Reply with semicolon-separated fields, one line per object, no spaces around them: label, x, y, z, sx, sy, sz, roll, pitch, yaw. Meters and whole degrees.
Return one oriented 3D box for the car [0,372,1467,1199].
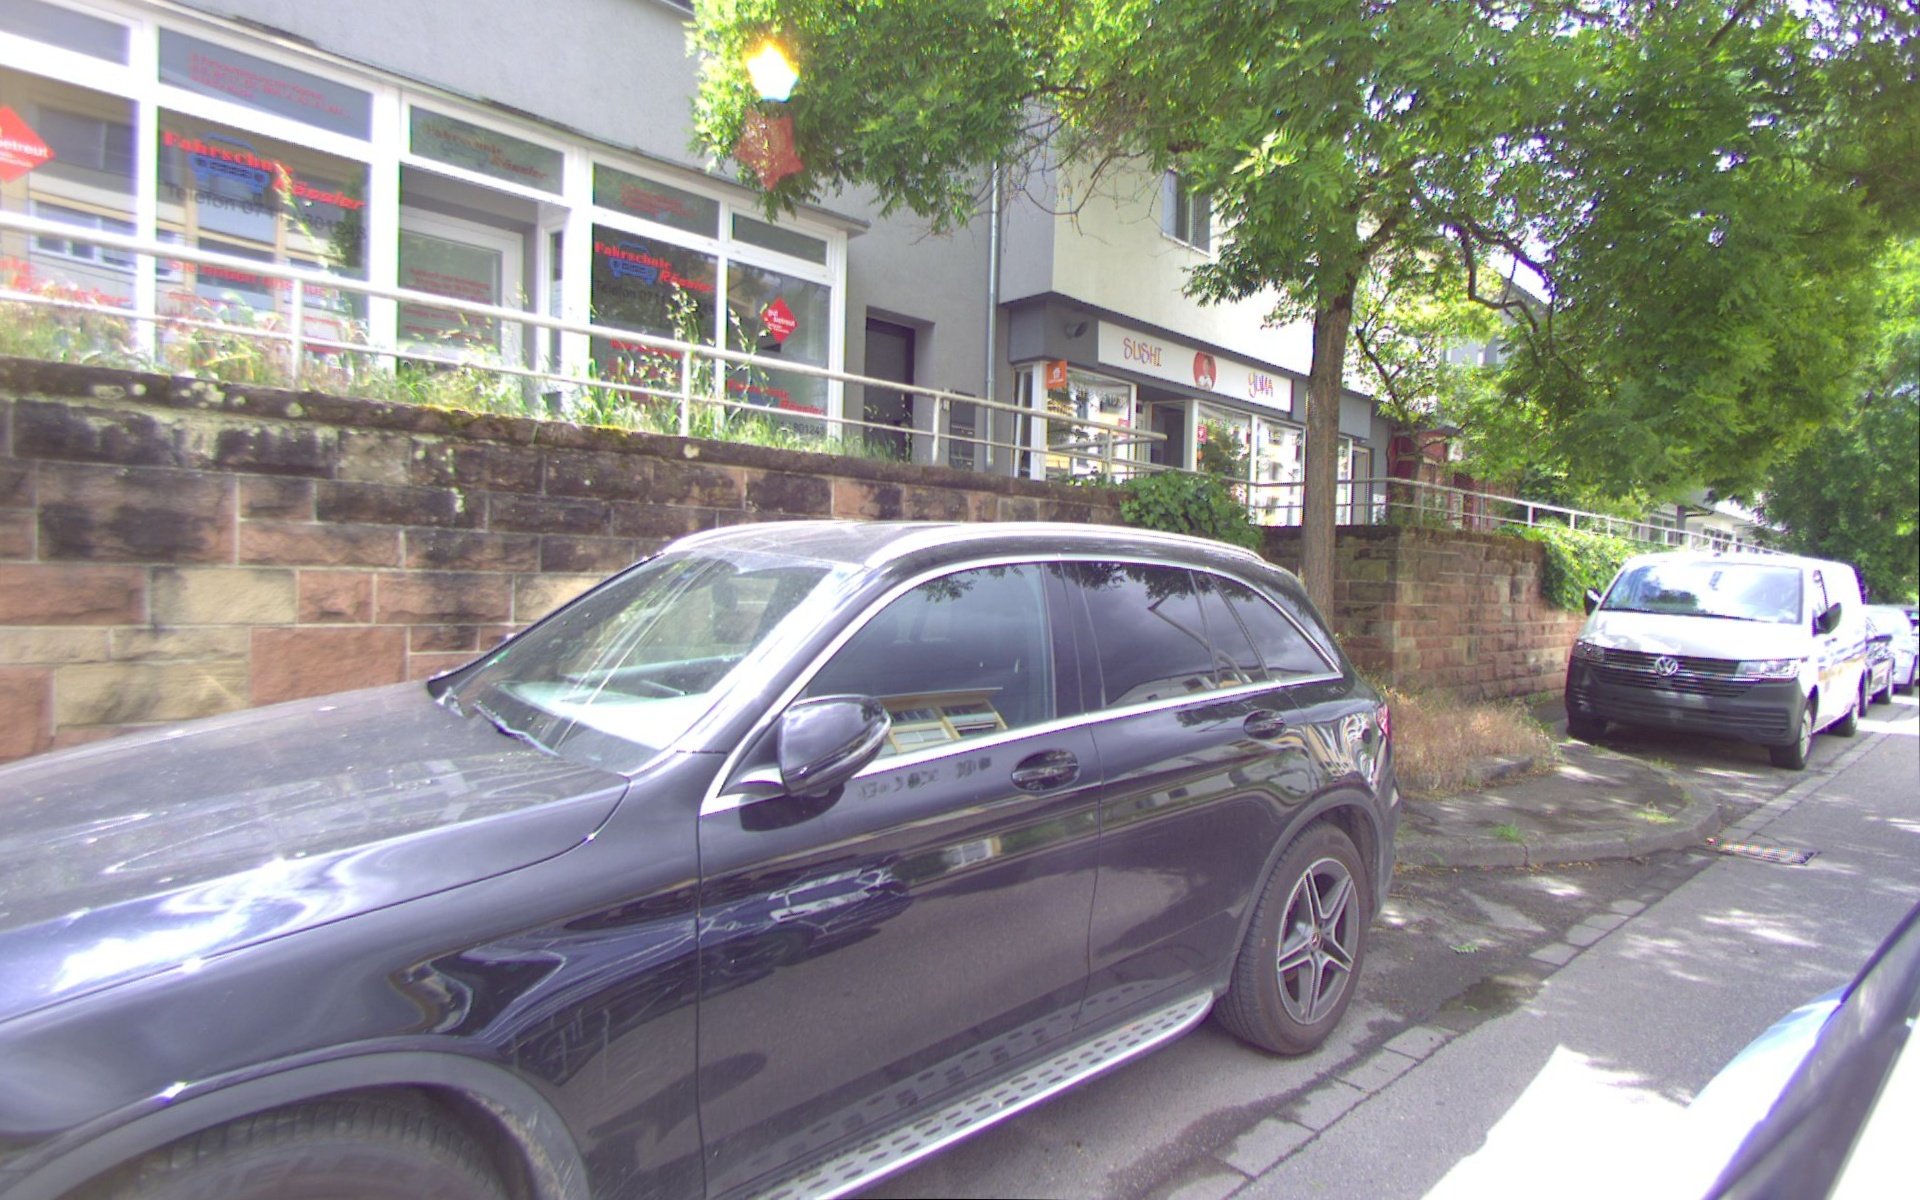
car;-0.415;0.509;2.907;4.371;1.637;1.793;0;4;-42

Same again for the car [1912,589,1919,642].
car;32.300;0.506;32.846;4.078;1.674;1.816;0;1;-44

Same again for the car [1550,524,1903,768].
car;8.204;0.346;10.638;4.925;1.994;1.977;0;1;-41

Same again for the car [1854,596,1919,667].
car;21.373;0.656;22.448;4.075;1.446;1.783;0;2;-41

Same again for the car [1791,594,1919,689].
car;16.197;0.650;17.928;4.076;1.446;1.782;0;2;-44

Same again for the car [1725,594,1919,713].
car;12.338;0.663;14.408;3.669;1.446;1.577;0;1;-41
